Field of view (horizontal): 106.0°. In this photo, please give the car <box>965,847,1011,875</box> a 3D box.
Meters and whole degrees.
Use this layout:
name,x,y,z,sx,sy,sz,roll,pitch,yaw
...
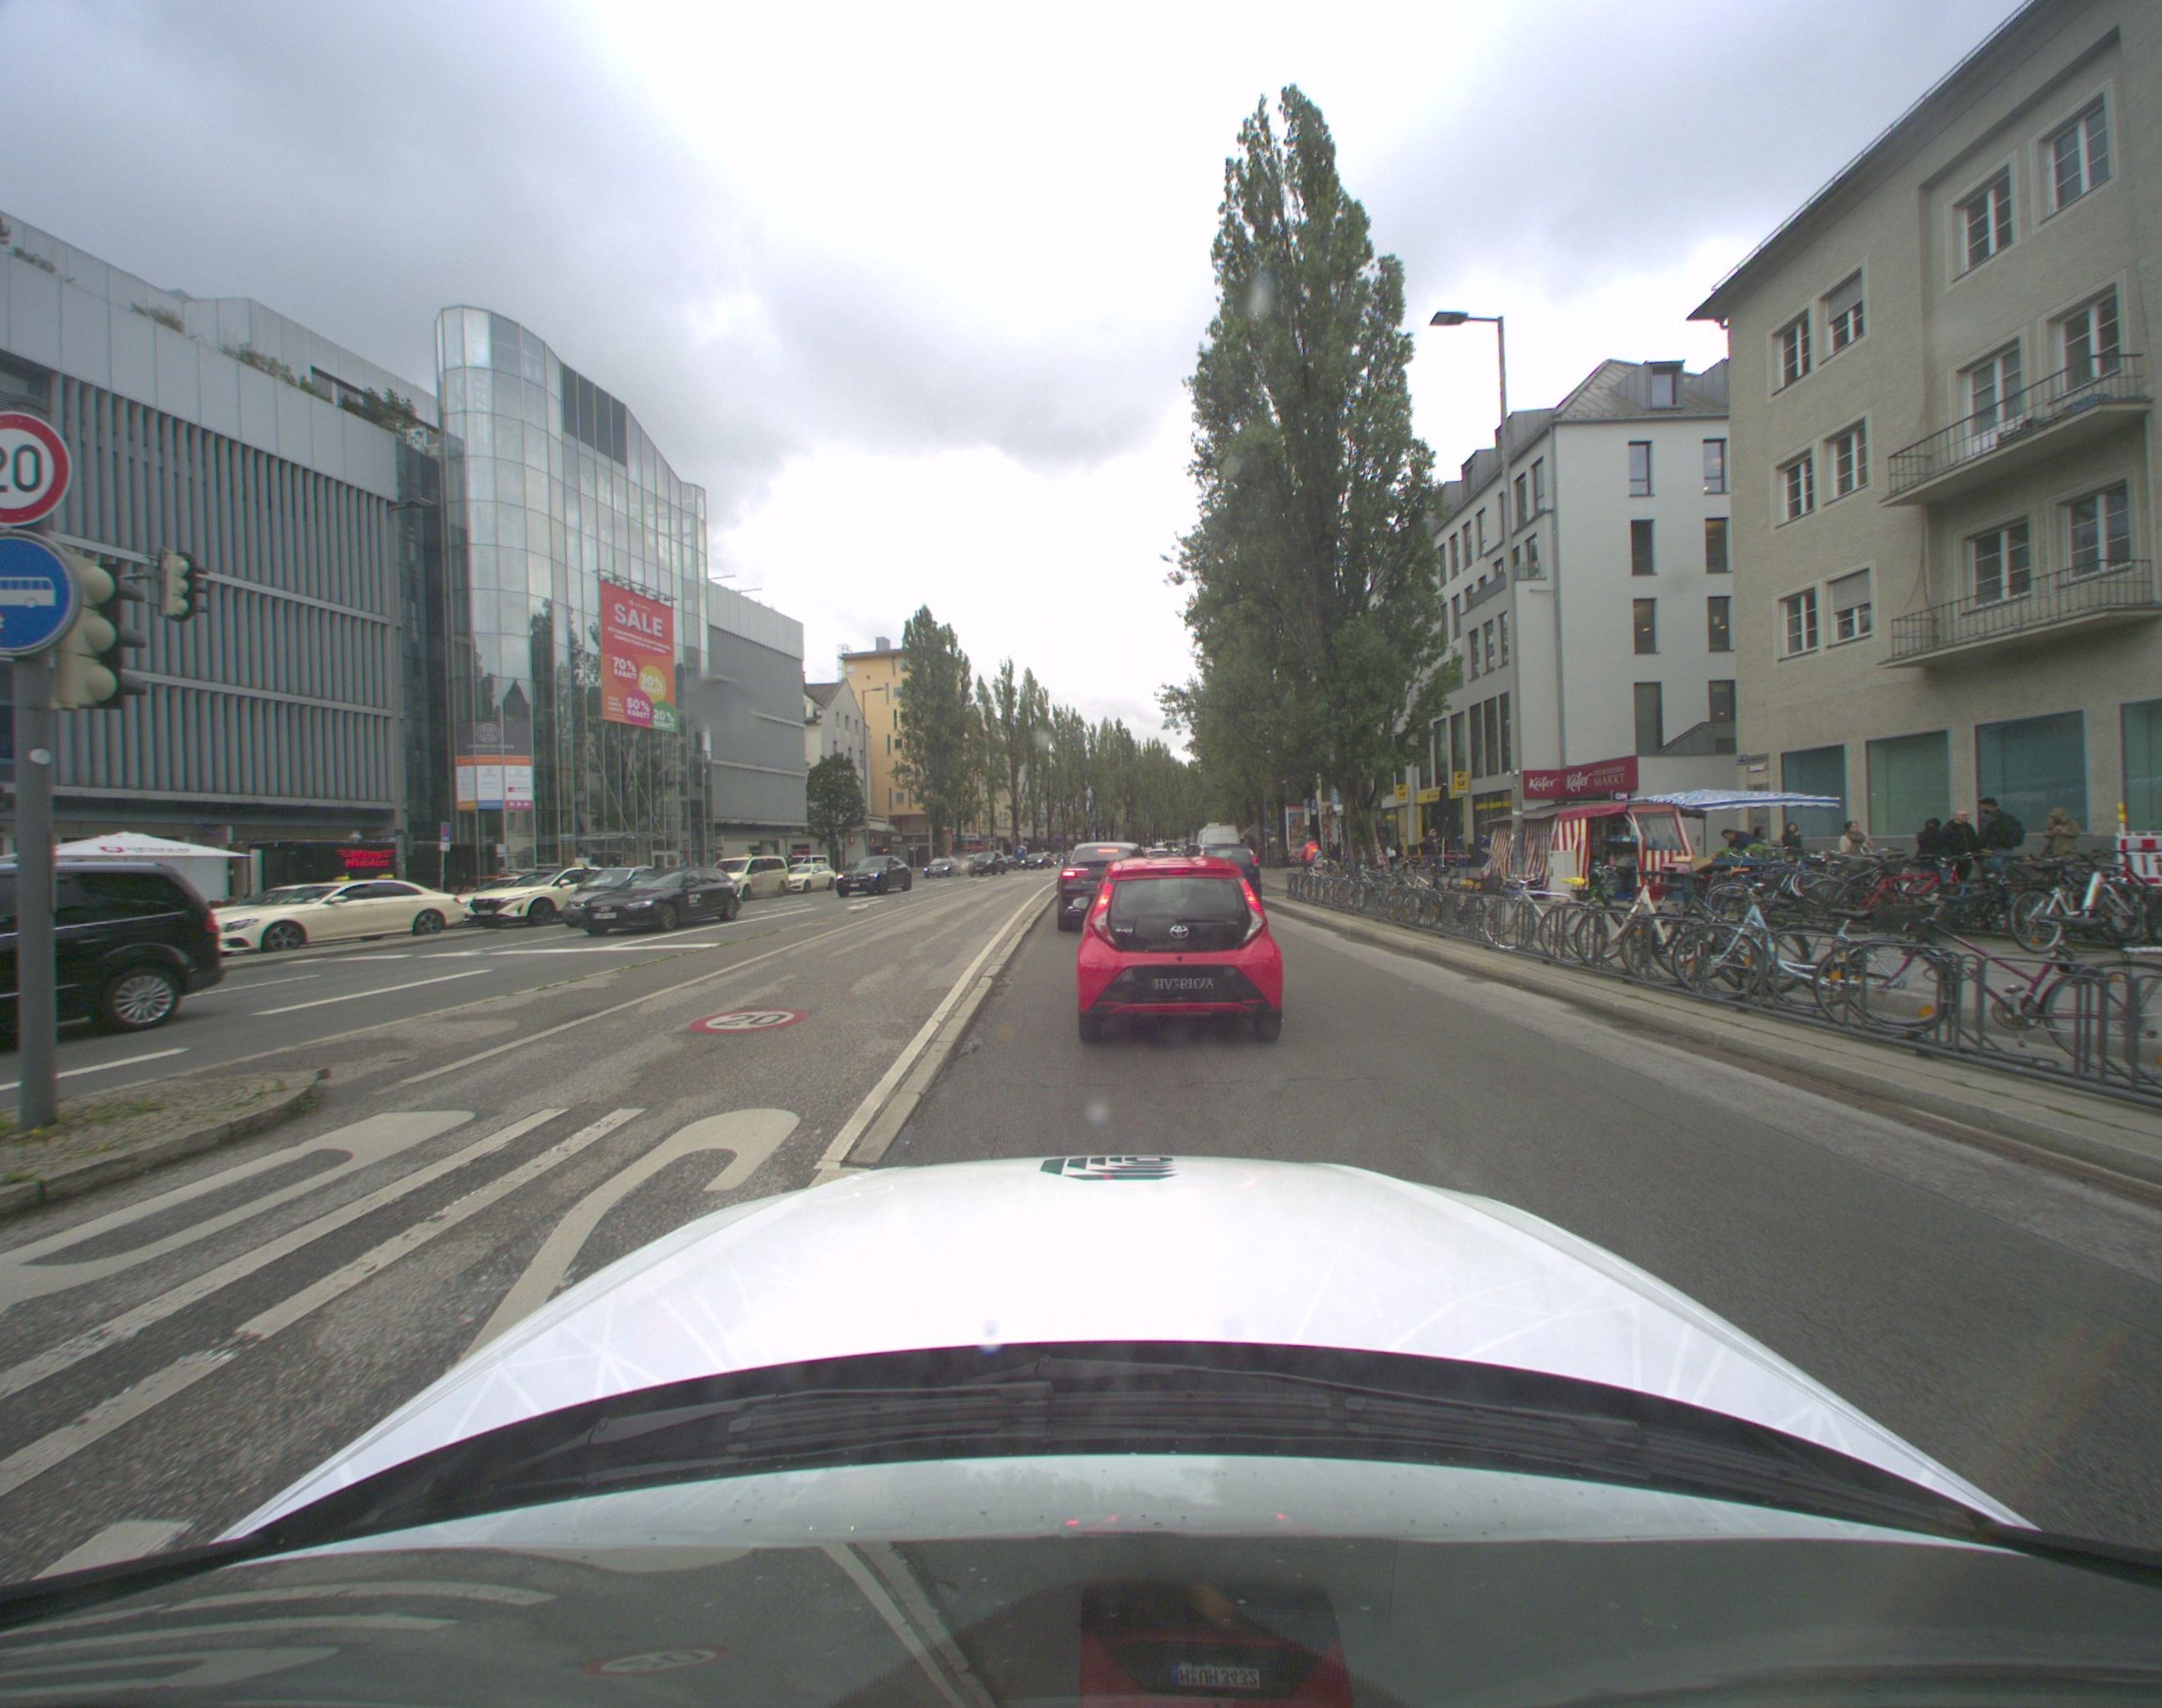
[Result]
name,x,y,z,sx,sy,sz,roll,pitch,yaw
car,-6.280,0.444,55.418,1.983,1.691,4.930,-2,0,6

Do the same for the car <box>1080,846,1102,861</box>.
name,x,y,z,sx,sy,sz,roll,pitch,yaw
car,1.266,-0.071,97.260,1.982,1.691,4.932,-2,0,8

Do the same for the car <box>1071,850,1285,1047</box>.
name,x,y,z,sx,sy,sz,roll,pitch,yaw
car,0.792,0.707,7.715,1.598,1.461,3.132,-1,0,2

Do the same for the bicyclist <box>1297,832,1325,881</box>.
name,x,y,z,sx,sy,sz,roll,pitch,yaw
bicyclist,8.053,0.081,28.609,0.611,1.657,1.251,-2,0,2

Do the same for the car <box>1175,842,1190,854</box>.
name,x,y,z,sx,sy,sz,roll,pitch,yaw
car,16.403,-0.926,131.062,1.980,1.837,4.014,-2,0,12

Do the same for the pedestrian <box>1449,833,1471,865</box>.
name,x,y,z,sx,sy,sz,roll,pitch,yaw
pedestrian,18.731,-0.258,40.263,0.710,1.558,0.676,-2,0,1

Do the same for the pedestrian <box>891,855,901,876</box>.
name,x,y,z,sx,sy,sz,roll,pitch,yaw
pedestrian,-17.720,1.120,78.009,0.685,1.997,0.766,-2,0,1

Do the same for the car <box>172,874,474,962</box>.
name,x,y,z,sx,sy,sz,roll,pitch,yaw
car,-16.672,1.332,18.338,1.981,1.508,4.648,-2,0,10

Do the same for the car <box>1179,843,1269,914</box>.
name,x,y,z,sx,sy,sz,roll,pitch,yaw
car,3.539,0.564,20.669,1.696,1.589,3.557,-2,0,1

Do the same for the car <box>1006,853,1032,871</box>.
name,x,y,z,sx,sy,sz,roll,pitch,yaw
car,-6.218,0.796,82.133,1.846,1.816,4.008,0,0,7

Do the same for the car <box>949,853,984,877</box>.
name,x,y,z,sx,sy,sz,roll,pitch,yaw
car,-9.168,0.861,65.533,1.846,1.816,4.008,0,0,7

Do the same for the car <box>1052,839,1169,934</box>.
name,x,y,z,sx,sy,sz,roll,pitch,yaw
car,0.533,0.535,15.834,1.987,1.618,4.001,0,0,1

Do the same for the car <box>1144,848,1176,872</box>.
name,x,y,z,sx,sy,sz,roll,pitch,yaw
car,4.937,0.345,51.464,1.694,1.426,3.497,-2,0,1

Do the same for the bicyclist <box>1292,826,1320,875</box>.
name,x,y,z,sx,sy,sz,roll,pitch,yaw
bicyclist,8.948,-0.151,32.390,0.759,1.869,1.133,-2,0,2

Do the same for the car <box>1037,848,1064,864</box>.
name,x,y,z,sx,sy,sz,roll,pitch,yaw
car,-3.366,0.235,91.577,1.981,1.691,4.935,-2,0,10

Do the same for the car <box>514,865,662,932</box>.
name,x,y,z,sx,sy,sz,roll,pitch,yaw
car,-13.058,1.127,21.828,1.616,1.552,3.389,-2,0,6

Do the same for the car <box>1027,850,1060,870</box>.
name,x,y,z,sx,sy,sz,roll,pitch,yaw
car,-3.289,0.510,72.430,1.982,1.691,4.933,-2,0,8

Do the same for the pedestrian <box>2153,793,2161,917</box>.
name,x,y,z,sx,sy,sz,roll,pitch,yaw
pedestrian,15.439,0.001,11.044,0.739,1.727,0.758,-3,0,1

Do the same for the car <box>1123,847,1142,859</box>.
name,x,y,z,sx,sy,sz,roll,pitch,yaw
car,7.659,-0.125,120.067,1.979,1.691,4.430,-2,0,14

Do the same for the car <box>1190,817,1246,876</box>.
name,x,y,z,sx,sy,sz,roll,pitch,yaw
car,6.859,-0.378,41.249,2.099,2.718,4.806,-2,0,2

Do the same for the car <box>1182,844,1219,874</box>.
name,x,y,z,sx,sy,sz,roll,pitch,yaw
car,6.895,0.276,47.414,1.696,1.662,3.557,-1,0,1

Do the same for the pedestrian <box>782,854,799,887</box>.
name,x,y,z,sx,sy,sz,roll,pitch,yaw
pedestrian,-16.517,0.936,46.304,0.553,1.817,0.630,-2,0,12

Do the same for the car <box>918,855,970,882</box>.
name,x,y,z,sx,sy,sz,roll,pitch,yaw
car,-9.539,0.984,57.171,1.980,1.609,4.548,-2,0,12

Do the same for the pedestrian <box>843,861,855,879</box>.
name,x,y,z,sx,sy,sz,roll,pitch,yaw
pedestrian,-17.453,1.218,61.271,0.553,1.290,0.630,-2,0,12

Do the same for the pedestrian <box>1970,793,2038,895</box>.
name,x,y,z,sx,sy,sz,roll,pitch,yaw
pedestrian,15.647,-0.163,13.819,0.594,1.669,0.690,-2,0,36

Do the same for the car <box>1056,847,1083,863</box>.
name,x,y,z,sx,sy,sz,roll,pitch,yaw
car,-1.179,0.087,86.505,1.982,1.691,4.932,-1,0,8

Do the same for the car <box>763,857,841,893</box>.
name,x,y,z,sx,sy,sz,roll,pitch,yaw
car,-13.953,1.008,41.035,1.984,1.655,4.540,0,0,5

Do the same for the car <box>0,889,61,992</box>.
name,x,y,z,sx,sy,sz,roll,pitch,yaw
car,-17.634,1.392,11.064,1.894,1.543,4.395,-2,0,2

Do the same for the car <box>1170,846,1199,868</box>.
name,x,y,z,sx,sy,sz,roll,pitch,yaw
car,7.516,0.223,59.221,1.696,1.529,3.557,-1,0,1

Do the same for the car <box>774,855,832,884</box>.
name,x,y,z,sx,sy,sz,roll,pitch,yaw
car,-18.965,1.036,55.775,1.858,1.772,4.254,-2,0,10

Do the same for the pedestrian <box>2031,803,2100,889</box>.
name,x,y,z,sx,sy,sz,roll,pitch,yaw
pedestrian,19.500,-0.163,16.145,0.638,1.644,0.563,-2,0,1

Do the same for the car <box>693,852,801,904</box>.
name,x,y,z,sx,sy,sz,roll,pitch,yaw
car,-14.454,0.956,35.676,1.984,2.013,5.532,-2,0,5

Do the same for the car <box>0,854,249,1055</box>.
name,x,y,z,sx,sy,sz,roll,pitch,yaw
car,-10.475,0.926,6.921,1.929,1.738,4.591,-2,0,2

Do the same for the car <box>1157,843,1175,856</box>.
name,x,y,z,sx,sy,sz,roll,pitch,yaw
car,9.997,-0.495,95.571,1.762,1.439,3.949,-2,0,9

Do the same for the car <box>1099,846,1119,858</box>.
name,x,y,z,sx,sy,sz,roll,pitch,yaw
car,4.172,-0.293,120.996,1.979,1.691,4.430,-2,0,14

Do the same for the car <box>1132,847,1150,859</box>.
name,x,y,z,sx,sy,sz,roll,pitch,yaw
car,9.413,-0.133,127.487,1.979,1.691,4.430,-2,0,14

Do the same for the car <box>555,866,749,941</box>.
name,x,y,z,sx,sy,sz,roll,pitch,yaw
car,-9.818,1.059,19.158,1.837,1.382,4.605,-2,0,4

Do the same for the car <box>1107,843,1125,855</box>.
name,x,y,z,sx,sy,sz,roll,pitch,yaw
car,5.935,-0.927,137.555,1.979,1.933,4.430,-2,0,14

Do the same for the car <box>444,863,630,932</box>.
name,x,y,z,sx,sy,sz,roll,pitch,yaw
car,-15.572,1.187,23.622,1.979,1.679,4.199,-2,0,14

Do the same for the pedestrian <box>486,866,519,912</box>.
name,x,y,z,sx,sy,sz,roll,pitch,yaw
pedestrian,-22.143,1.339,31.186,0.646,1.691,0.714,-2,0,14

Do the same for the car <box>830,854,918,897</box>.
name,x,y,z,sx,sy,sz,roll,pitch,yaw
car,-8.544,0.844,34.036,1.983,1.534,4.597,-2,0,7

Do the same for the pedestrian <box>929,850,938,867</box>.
name,x,y,z,sx,sy,sz,roll,pitch,yaw
pedestrian,-15.964,0.497,88.005,0.683,1.810,0.768,-2,0,13
